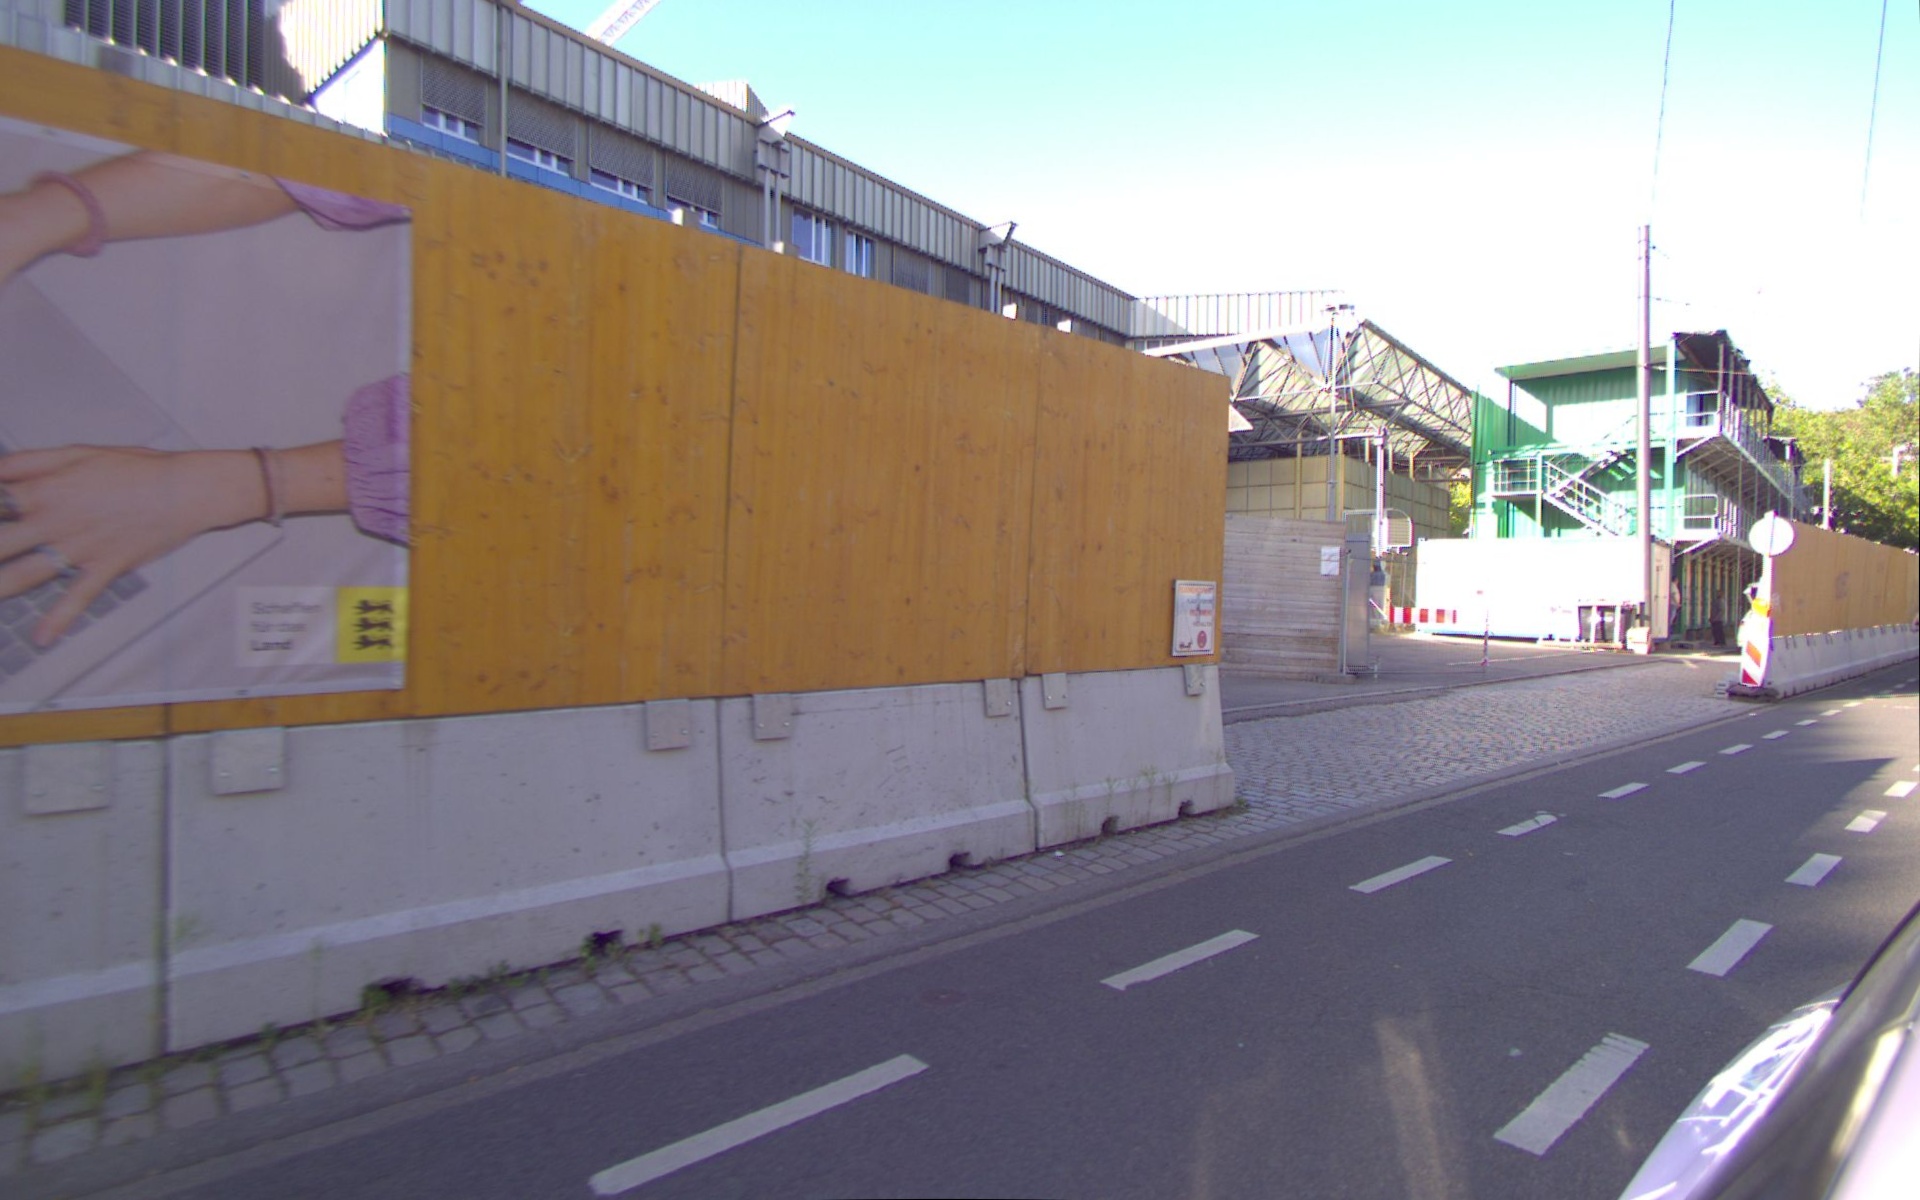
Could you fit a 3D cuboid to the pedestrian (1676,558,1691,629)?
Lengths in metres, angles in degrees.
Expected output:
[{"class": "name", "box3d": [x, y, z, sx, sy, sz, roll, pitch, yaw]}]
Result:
[{"class": "pedestrian", "box3d": [21.519, -0.193, 30.089, 0.306, 2.071, 0.347, 0, 0, 43]}]

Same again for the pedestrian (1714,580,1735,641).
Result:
[{"class": "pedestrian", "box3d": [22.368, 0.296, 29.612, 0.445, 1.780, 0.373, 0, 0, 30]}]
